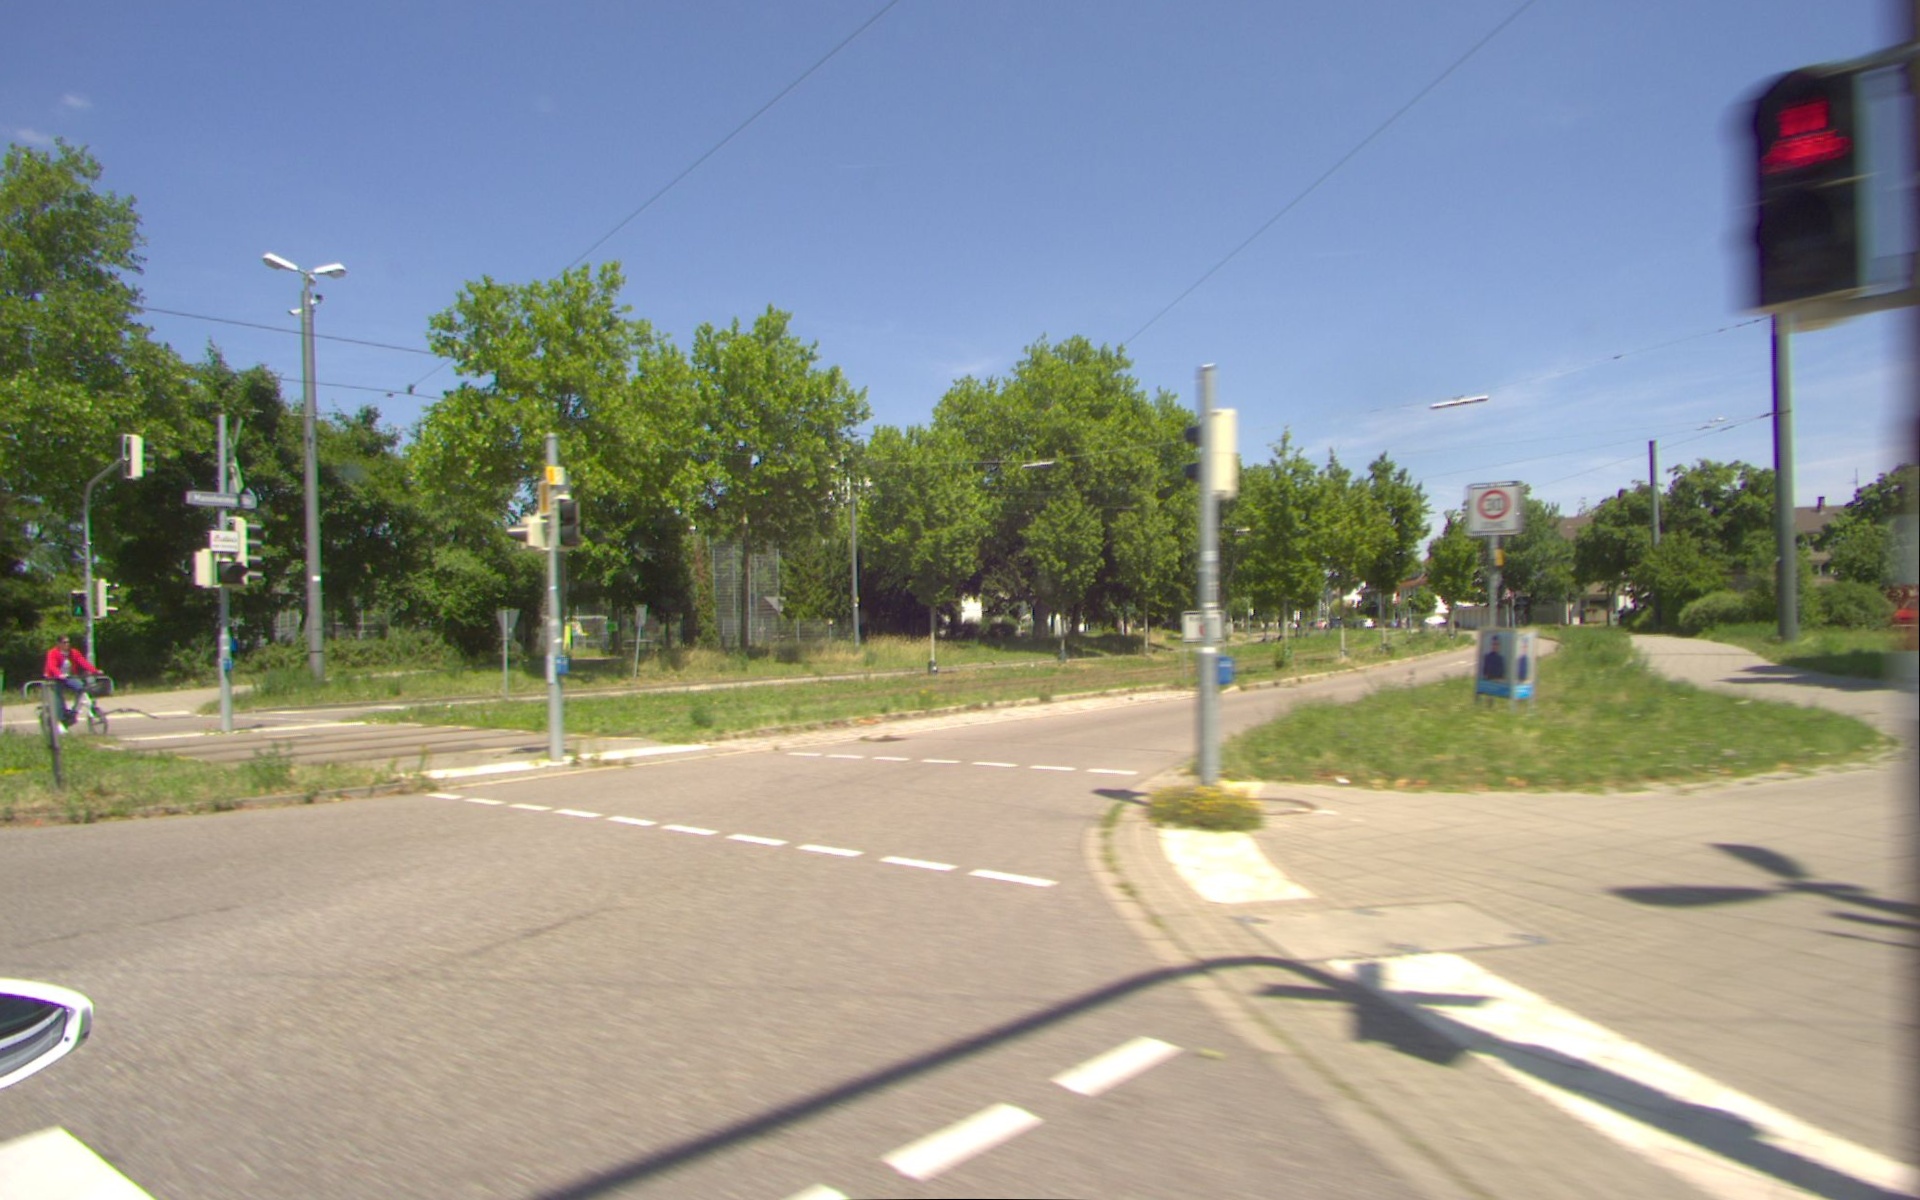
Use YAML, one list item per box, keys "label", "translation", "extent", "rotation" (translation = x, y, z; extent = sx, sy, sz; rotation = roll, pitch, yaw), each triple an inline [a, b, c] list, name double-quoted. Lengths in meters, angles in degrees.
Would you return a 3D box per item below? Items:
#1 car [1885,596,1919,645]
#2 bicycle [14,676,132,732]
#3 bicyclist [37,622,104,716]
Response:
- label: "car"
  translation: [41.368, 0.834, 42.025]
  extent: [4.588, 2.028, 2.068]
  rotation: [0, -1, -24]
- label: "bicycle"
  translation: [-15.135, 1.767, 17.095]
  extent: [1.778, 0.907, 0.588]
  rotation: [-1, -1, 13]
- label: "bicyclist"
  translation: [-15.204, 1.176, 17.122]
  extent: [0.661, 1.576, 0.579]
  rotation: [-1, -1, 13]
